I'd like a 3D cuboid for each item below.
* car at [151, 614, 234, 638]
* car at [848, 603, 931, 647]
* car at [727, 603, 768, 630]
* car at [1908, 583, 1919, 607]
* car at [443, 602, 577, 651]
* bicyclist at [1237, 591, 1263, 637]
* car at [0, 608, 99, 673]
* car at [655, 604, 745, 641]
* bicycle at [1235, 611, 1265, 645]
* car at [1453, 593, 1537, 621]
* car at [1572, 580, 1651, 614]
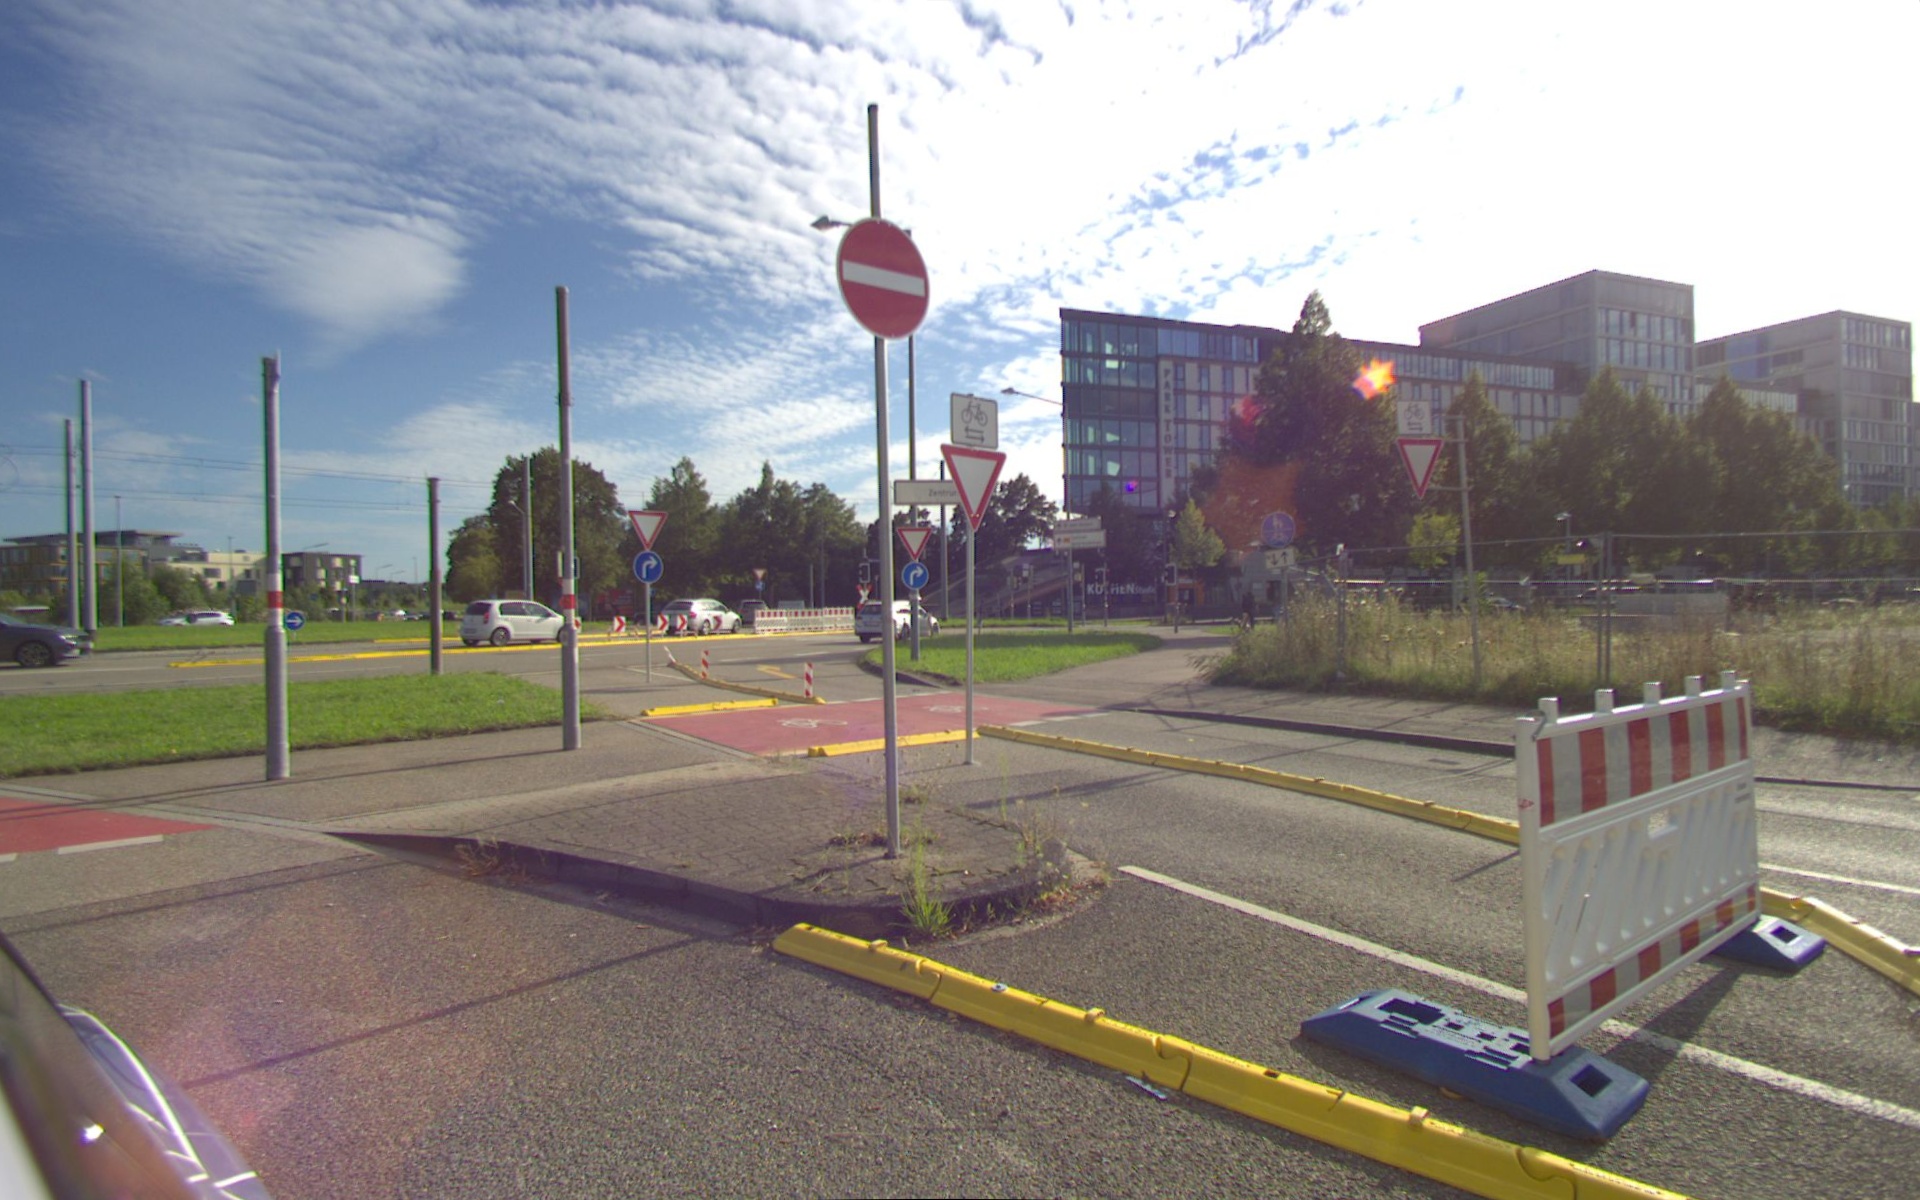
[{"bbox_3d":[-54.592,1.807,72.064,1.889,1.588,4.375,-1,0,32],"label":"car"},{"bbox_3d":[-2.486,0.877,36.907,1.805,1.463,4.524,-1,0,12],"label":"car"},{"bbox_3d":[-12.122,0.899,57.570,1.806,1.442,4.013,-1,0,-18],"label":"car"},{"bbox_3d":[78.038,-0.460,80.562,4.580,1.917,1.908,-1,0,-21],"label":"car"},{"bbox_3d":[-14.526,0.813,32.811,1.762,1.475,3.619,0,0,32],"label":"car"},{"bbox_3d":[9.836,0.471,34.256,0.700,1.523,1.002,-2,-1,23],"label":"bicyclist"},{"bbox_3d":[-22.724,0.924,23.126,4.370,1.431,1.830,0,0,-29],"label":"car"},{"bbox_3d":[-10.733,0.891,42.152,1.837,1.456,4.622,0,0,11],"label":"car"},{"bbox_3d":[9.726,0.924,33.885,0.700,1.071,2.188,-2,-1,22],"label":"bicycle"},{"bbox_3d":[32.873,0.424,62.215,4.760,1.578,2.007,-1,2,-23],"label":"car"},{"bbox_3d":[40.107,-0.201,62.280,4.580,1.917,1.908,-2,1,-25],"label":"car"}]
